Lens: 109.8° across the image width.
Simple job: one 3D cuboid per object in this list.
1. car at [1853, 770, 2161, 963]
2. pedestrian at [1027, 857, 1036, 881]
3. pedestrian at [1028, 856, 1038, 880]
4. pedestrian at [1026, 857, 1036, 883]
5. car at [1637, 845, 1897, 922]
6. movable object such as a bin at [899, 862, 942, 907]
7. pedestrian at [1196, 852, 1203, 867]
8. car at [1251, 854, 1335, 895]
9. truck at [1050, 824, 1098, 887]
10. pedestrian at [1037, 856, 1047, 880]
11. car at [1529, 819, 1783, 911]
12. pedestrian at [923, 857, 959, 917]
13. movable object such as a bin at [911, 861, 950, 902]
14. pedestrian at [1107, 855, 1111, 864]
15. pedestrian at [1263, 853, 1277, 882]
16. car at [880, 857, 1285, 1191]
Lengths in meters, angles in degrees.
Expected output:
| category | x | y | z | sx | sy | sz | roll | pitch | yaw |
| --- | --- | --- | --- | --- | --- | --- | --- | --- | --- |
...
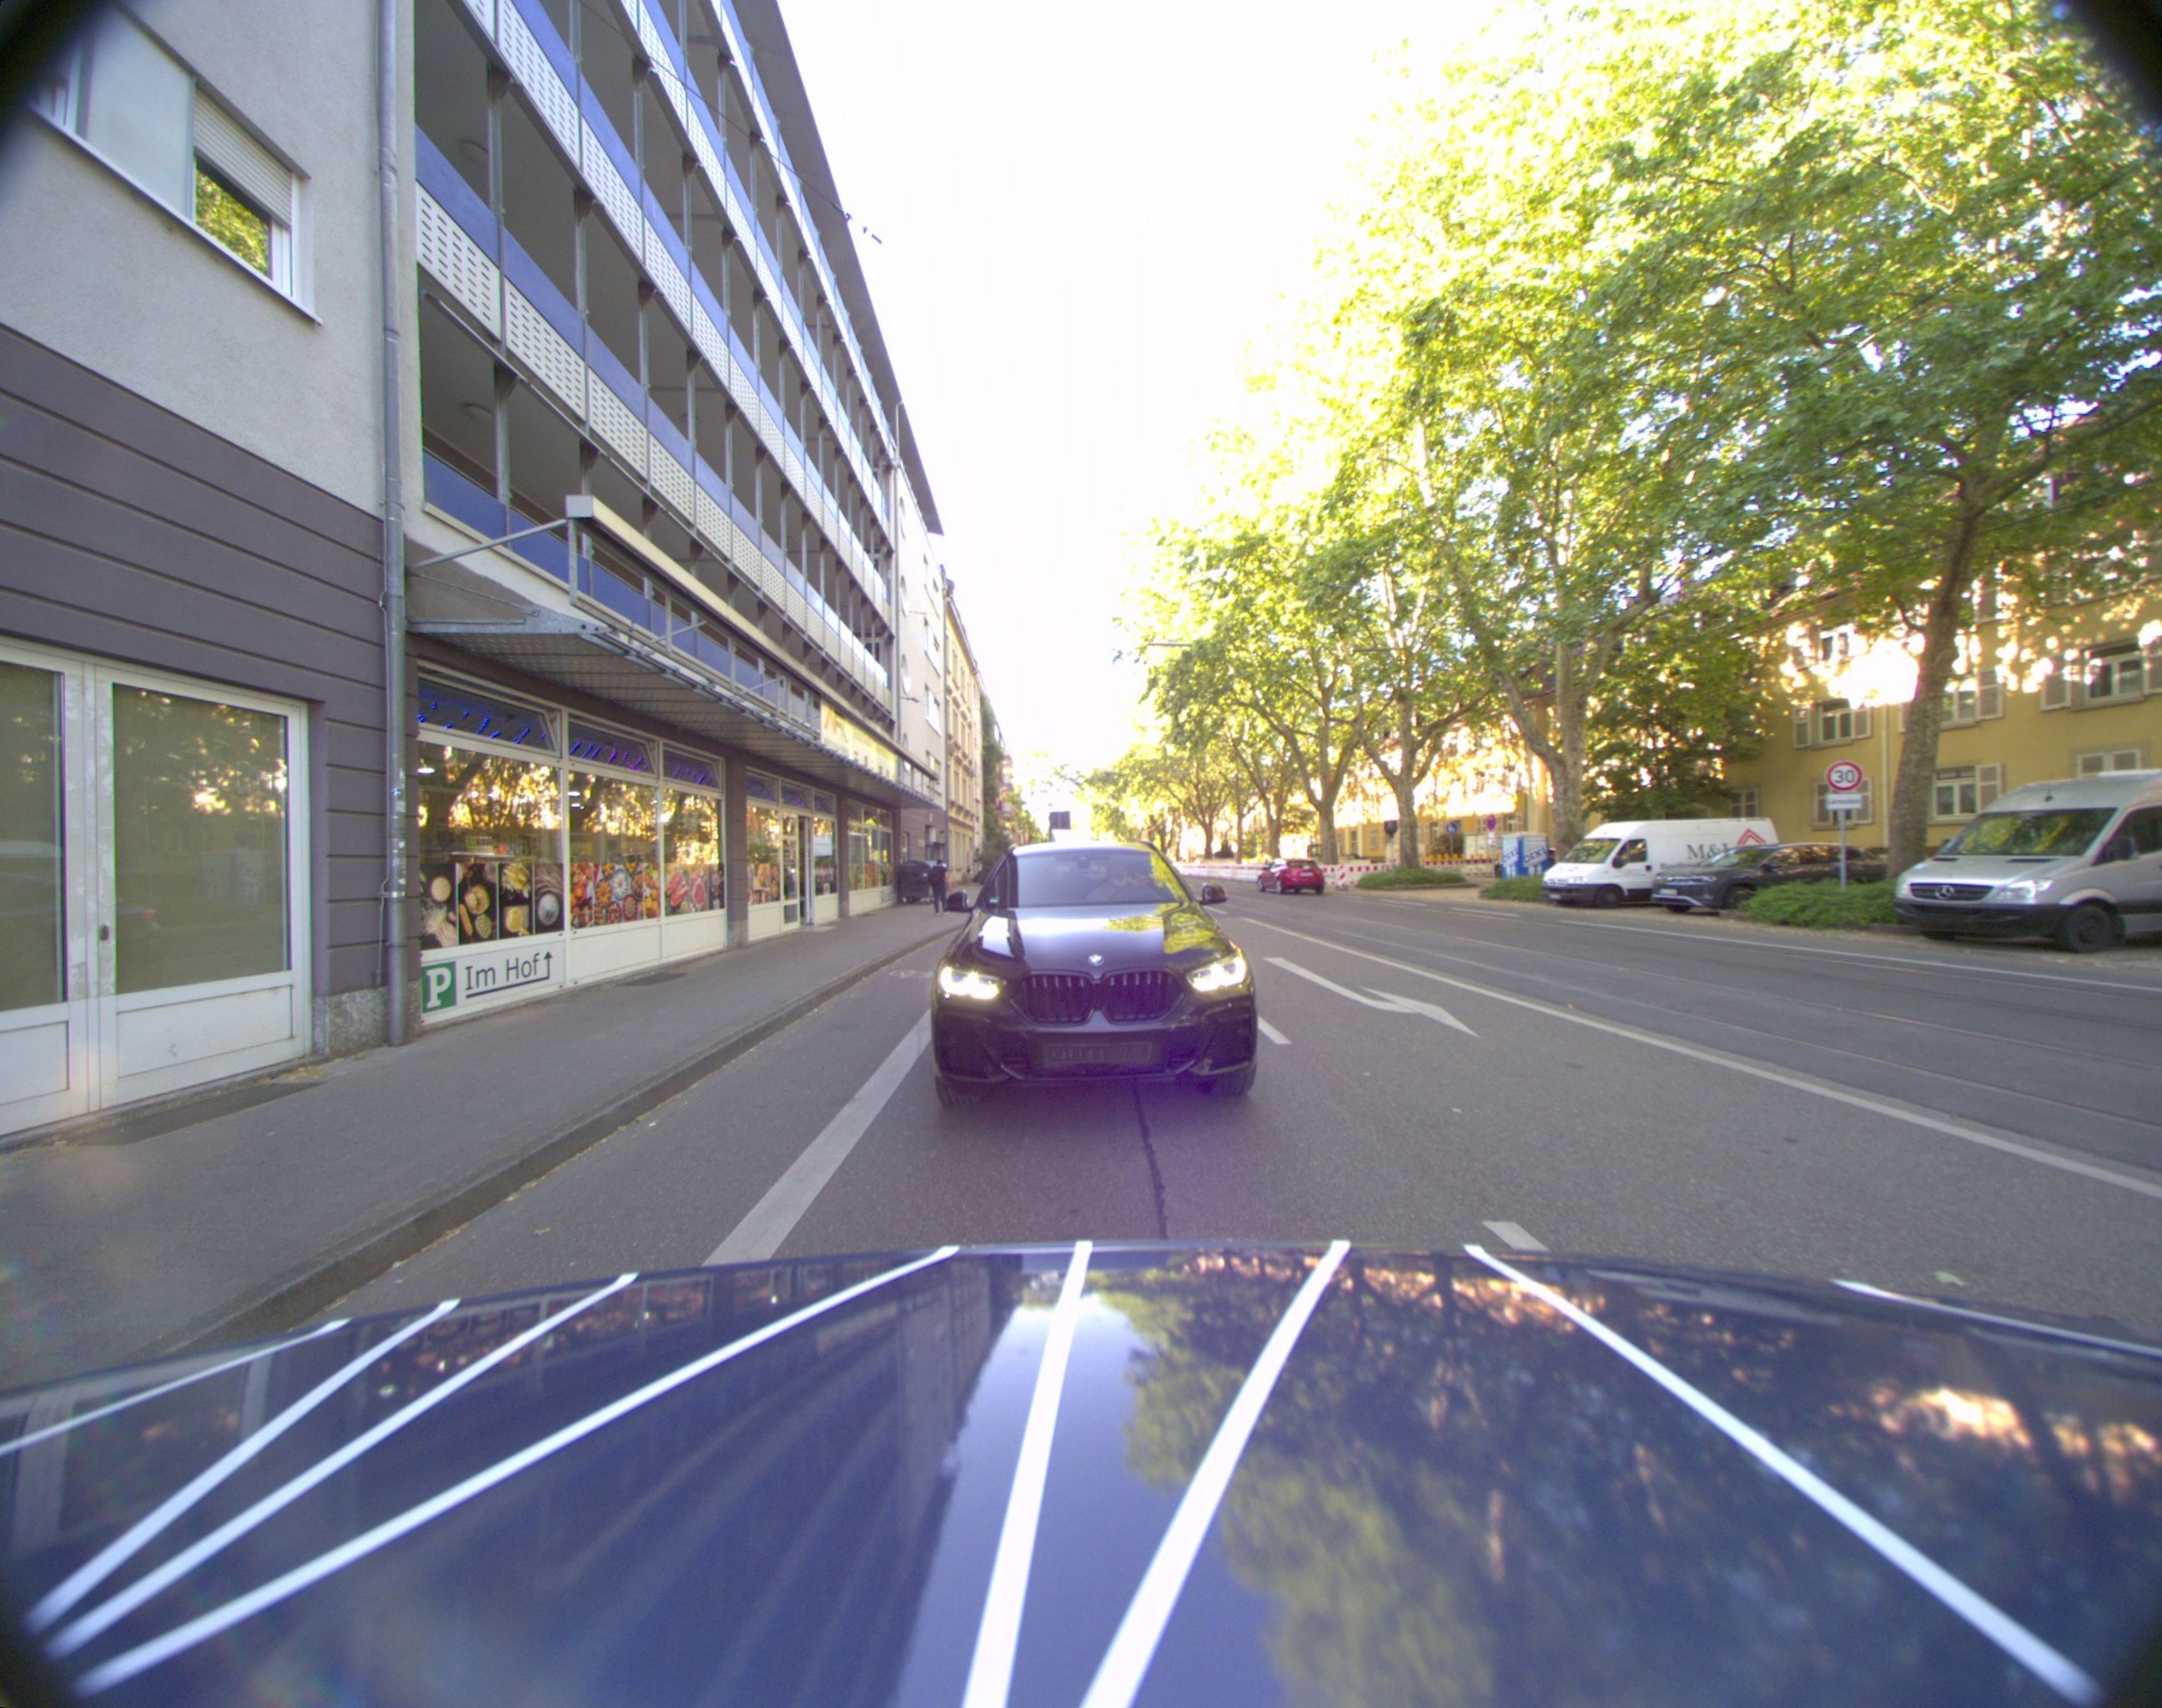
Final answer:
| category | x | y | z | sx | sy | sz | roll | pitch | yaw |
| --- | --- | --- | --- | --- | --- | --- | --- | --- | --- |
| car | 15.981 | 0.130 | 11.873 | 5.666 | 2.666 | 2.223 | -2 | 0 | -2 |
| pedestrian | -3.846 | 1.152 | 59.503 | 0.600 | 1.875 | 0.581 | -2 | 1 | -1 |
| pedestrian | -3.916 | 1.130 | 61.660 | 0.733 | 1.875 | 0.664 | -2 | 1 | -1 |
| pedestrian | -3.676 | 1.186 | 55.816 | 0.600 | 1.875 | 0.581 | -2 | 1 | -1 |
| car | 16.075 | 0.659 | 17.955 | 4.627 | 1.642 | 1.774 | -1 | 0 | -2 |
| movable object such as a bin | -5.204 | 0.974 | 24.662 | 1.158 | 1.418 | 0.939 | -1 | 0 | 1 |
| pedestrian | 15.556 | 0.721 | 99.780 | 0.732 | 1.875 | 0.665 | -2 | 1 | 8 |
| car | 8.730 | 0.802 | 31.745 | 2.022 | 1.556 | 4.490 | -1 | 0 | -3 |
| truck | -0.317 | 0.119 | 42.161 | 2.394 | 3.170 | 6.587 | -1 | 0 | 1 |
| pedestrian | -3.151 | 1.090 | 61.076 | 0.733 | 1.875 | 0.664 | -2 | 1 | -1 |
| car | 15.842 | 0.292 | 21.163 | 5.404 | 2.362 | 2.223 | -1 | 0 | 0 |
| pedestrian | -3.727 | 0.870 | 20.324 | 0.864 | 1.582 | 0.622 | 1 | 0 | -5 |
| movable object such as a bin | -5.286 | 0.950 | 26.701 | 1.158 | 1.418 | 0.939 | -1 | 0 | 1 |
| pedestrian | 6.055 | 1.200 | 163.325 | 0.733 | 1.875 | 0.741 | -2 | 1 | -1 |
| pedestrian | 11.800 | 0.842 | 47.402 | 0.651 | 1.735 | 0.583 | -2 | 1 | 1 |
| car | 0.038 | 0.861 | 5.947 | 1.998 | 1.643 | 4.295 | -1 | 0 | 1 |
